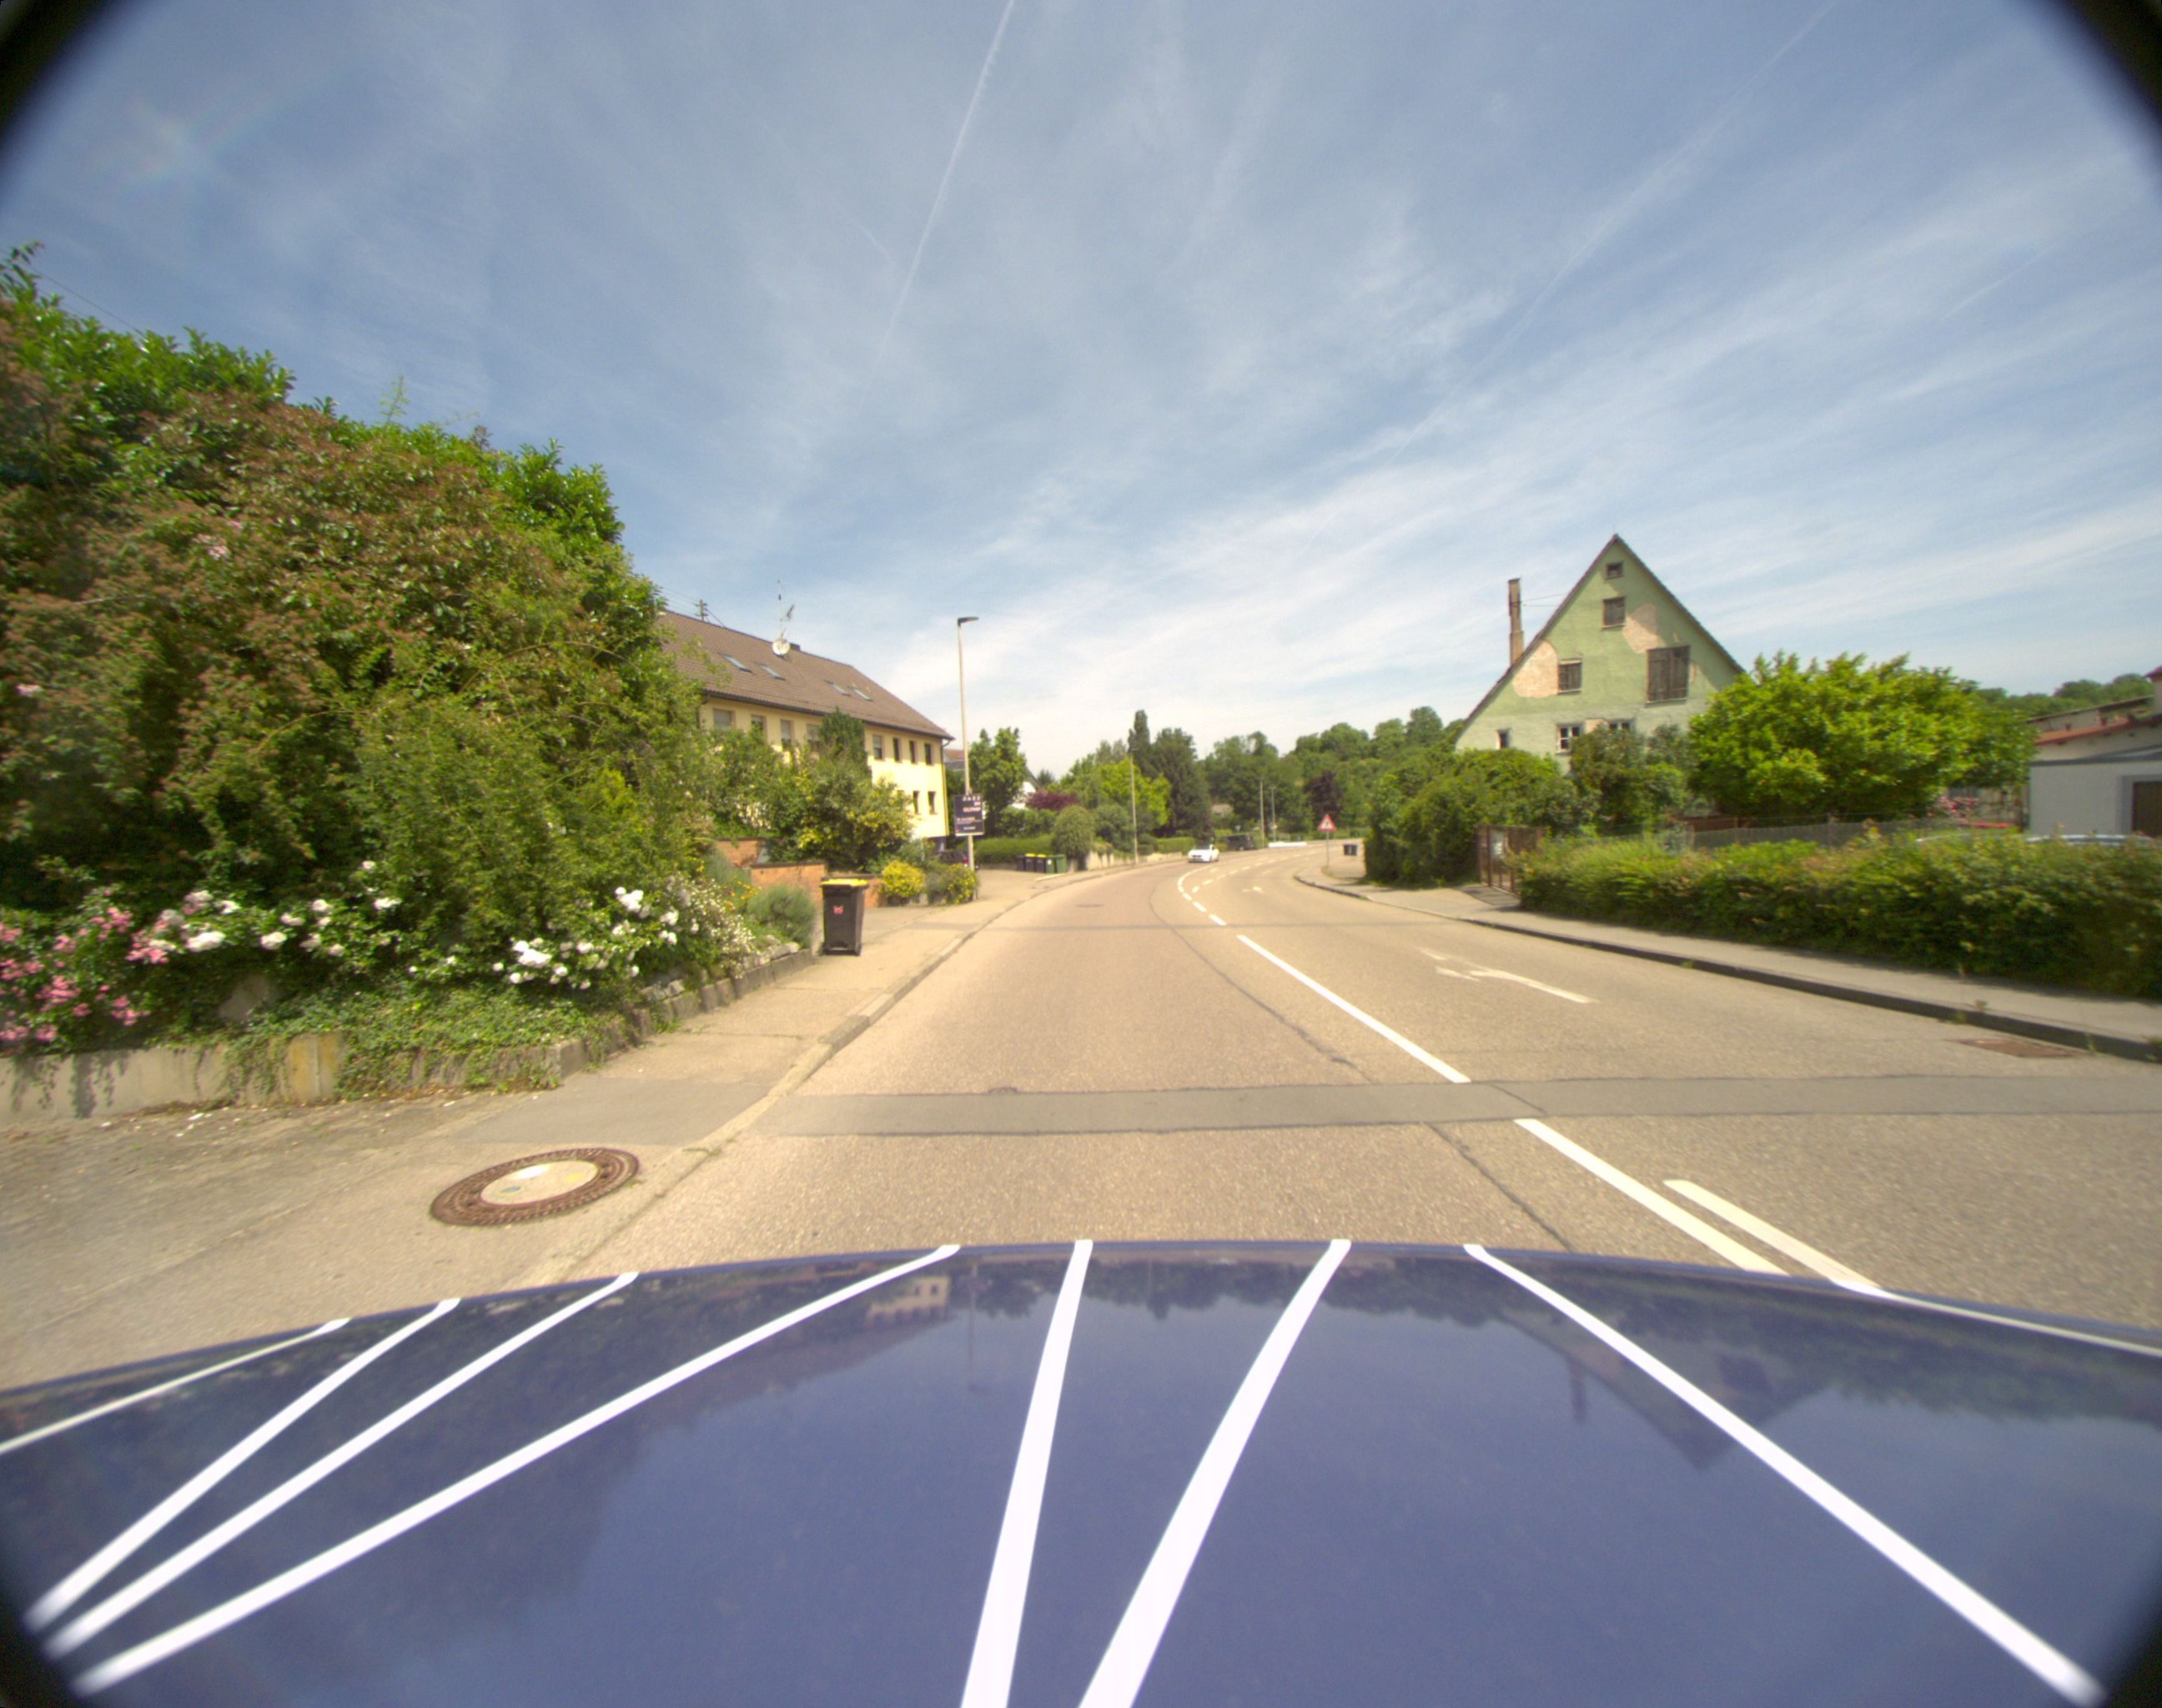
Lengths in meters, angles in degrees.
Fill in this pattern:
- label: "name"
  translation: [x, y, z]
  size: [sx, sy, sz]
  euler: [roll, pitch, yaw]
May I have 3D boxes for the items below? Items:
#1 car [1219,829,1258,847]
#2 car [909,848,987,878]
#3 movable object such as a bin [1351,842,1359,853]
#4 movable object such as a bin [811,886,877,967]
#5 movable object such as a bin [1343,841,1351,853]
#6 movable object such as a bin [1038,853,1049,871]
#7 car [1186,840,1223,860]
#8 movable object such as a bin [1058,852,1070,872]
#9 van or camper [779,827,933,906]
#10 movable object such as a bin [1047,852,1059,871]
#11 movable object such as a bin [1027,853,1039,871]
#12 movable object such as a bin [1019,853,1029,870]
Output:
- label: "car"
  translation: [17.982, -1.842, 86.813]
  size: [3.900, 1.938, 1.959]
  euler: [-2, 1, 33]
- label: "car"
  translation: [-7.159, 0.461, 40.937]
  size: [3.685, 1.410, 1.646]
  euler: [-2, 2, 18]
- label: "movable object such as a bin"
  translation: [25.323, -0.596, 70.300]
  size: [0.534, 1.044, 0.541]
  euler: [-2, 1, 6]
- label: "movable object such as a bin"
  translation: [-3.404, 1.028, 10.968]
  size: [0.589, 1.053, 0.919]
  euler: [-2, 1, 2]
- label: "movable object such as a bin"
  translation: [25.186, -0.691, 71.931]
  size: [0.553, 1.075, 0.541]
  euler: [-2, 1, 6]
- label: "movable object such as a bin"
  translation: [-2.162, 0.443, 43.933]
  size: [0.485, 1.016, 0.565]
  euler: [1, 3, 21]
- label: "car"
  translation: [10.119, -0.366, 62.094]
  size: [1.823, 1.543, 4.006]
  euler: [0, 2, 26]
- label: "movable object such as a bin"
  translation: [-0.983, 0.435, 43.524]
  size: [0.485, 1.101, 0.565]
  euler: [-2, 2, 14]
- label: "van or camper"
  translation: [-8.884, 0.479, 30.141]
  size: [5.234, 2.632, 2.286]
  euler: [-4, 3, 16]
- label: "movable object such as a bin"
  translation: [-1.620, 0.433, 43.702]
  size: [0.485, 1.065, 0.565]
  euler: [-2, 2, 21]
- label: "movable object such as a bin"
  translation: [-2.772, 0.445, 44.140]
  size: [0.485, 1.016, 0.565]
  euler: [1, 3, 21]
- label: "movable object such as a bin"
  translation: [-3.320, 0.426, 44.275]
  size: [0.449, 0.950, 0.516]
  euler: [2, 3, 18]
